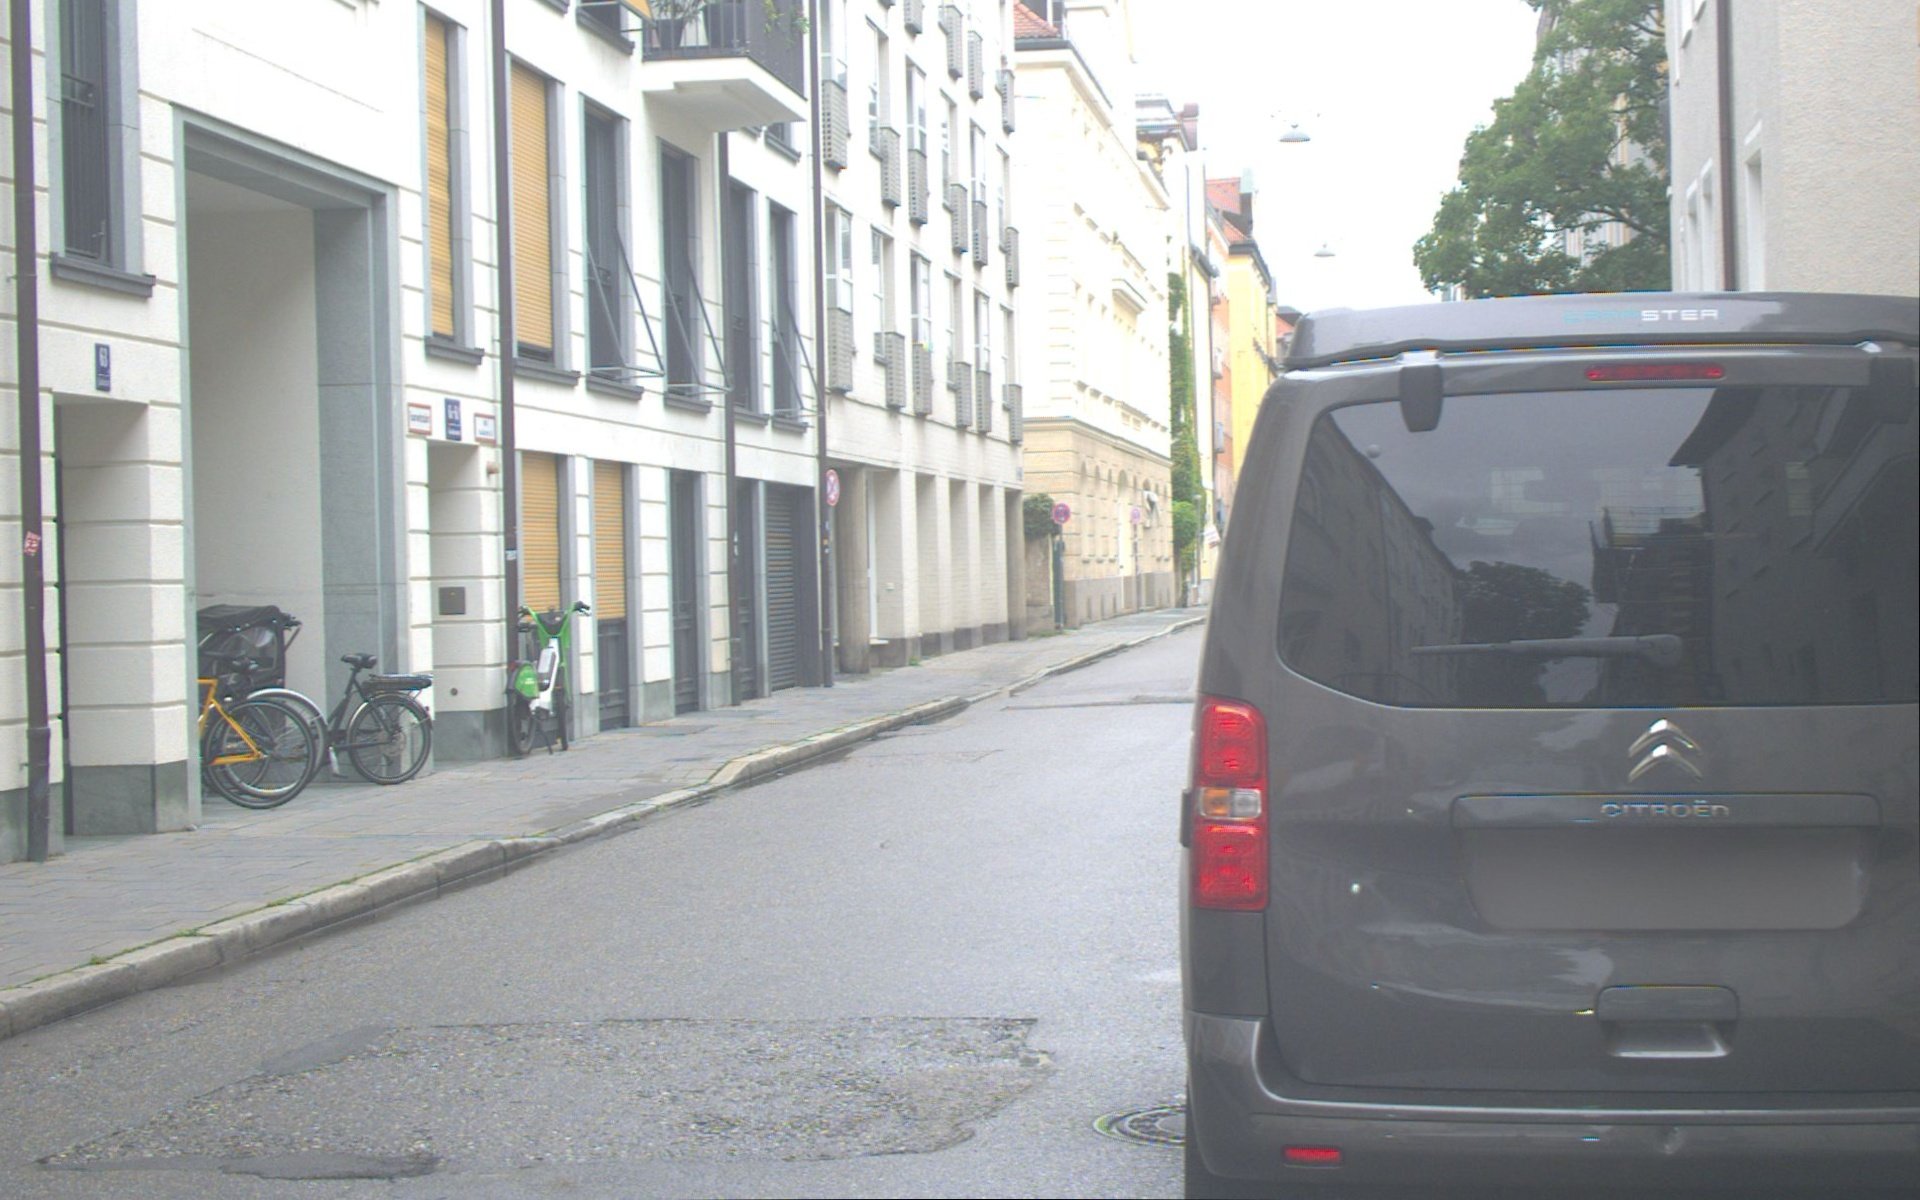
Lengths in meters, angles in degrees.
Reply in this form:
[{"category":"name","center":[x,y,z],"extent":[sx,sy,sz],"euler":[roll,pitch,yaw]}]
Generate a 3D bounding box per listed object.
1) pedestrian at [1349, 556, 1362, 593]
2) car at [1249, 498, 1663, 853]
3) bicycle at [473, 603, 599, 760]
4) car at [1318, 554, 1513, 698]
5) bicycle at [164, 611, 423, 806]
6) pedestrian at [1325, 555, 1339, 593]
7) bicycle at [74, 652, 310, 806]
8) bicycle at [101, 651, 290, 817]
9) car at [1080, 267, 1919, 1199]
[{"category":"pedestrian","center":[17.656,-1.148,153.476],"extent":[0.539,1.648,0.376],"euler":[-2,1,8]},{"category":"car","center":[2.579,0.326,18.384],"extent":[1.894,1.635,4.321],"euler":[-1,1,6]},{"category":"bicycle","center":[-3.230,0.602,26.352],"extent":[0.340,1.142,2.190],"euler":[-2,0,9]},{"category":"car","center":[4.746,0.239,36.156],"extent":[1.894,1.372,3.939],"euler":[-1,1,6]},{"category":"bicycle","center":[-4.378,0.695,22.648],"extent":[1.681,1.189,0.380],"euler":[-2,2,-39]},{"category":"pedestrian","center":[16.540,-1.163,152.741],"extent":[0.539,1.648,0.376],"euler":[-2,1,8]},{"category":"bicycle","center":[-4.801,0.797,21.515],"extent":[1.386,0.885,0.380],"euler":[-1,2,-26]},{"category":"bicycle","center":[-4.629,0.805,20.837],"extent":[1.063,0.944,0.308],"euler":[-1,2,-26]},{"category":"car","center":[1.466,0.341,8.398],"extent":[1.994,1.925,4.659],"euler":[0,1,6]}]
